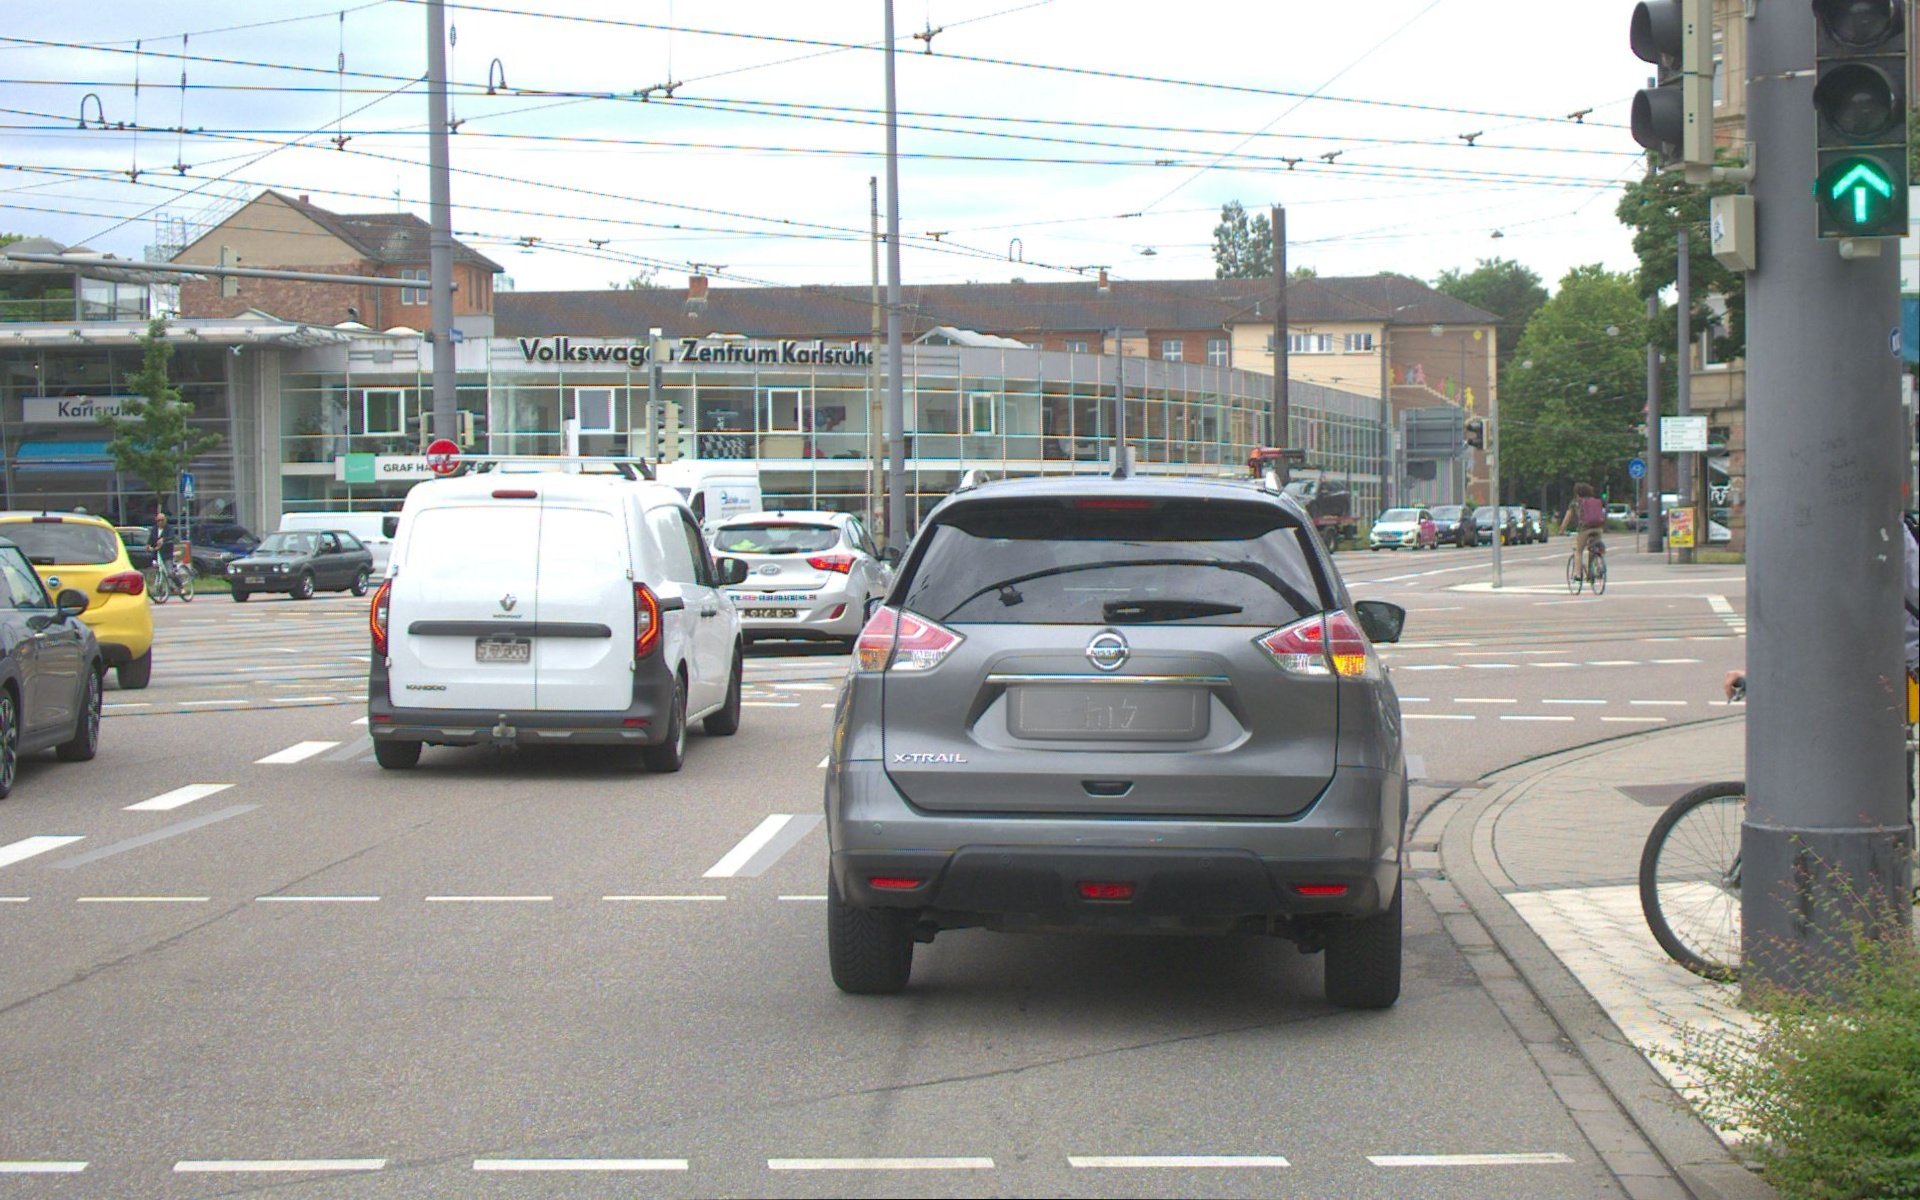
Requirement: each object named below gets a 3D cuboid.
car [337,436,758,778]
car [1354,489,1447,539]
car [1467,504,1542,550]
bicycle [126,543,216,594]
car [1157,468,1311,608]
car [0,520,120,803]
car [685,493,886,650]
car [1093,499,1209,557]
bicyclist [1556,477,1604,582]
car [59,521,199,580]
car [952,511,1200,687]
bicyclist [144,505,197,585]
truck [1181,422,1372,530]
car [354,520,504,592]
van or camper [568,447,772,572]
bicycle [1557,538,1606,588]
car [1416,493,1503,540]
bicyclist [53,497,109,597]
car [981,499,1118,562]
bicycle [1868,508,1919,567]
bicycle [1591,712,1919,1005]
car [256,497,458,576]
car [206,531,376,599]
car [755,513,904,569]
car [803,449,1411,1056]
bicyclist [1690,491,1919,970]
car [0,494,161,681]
[{"bbox_3d":[-2.471,-0.011,21.607,1.912,1.933,4.131,0,1,3],"label":"car"},{"bbox_3d":[16.447,-3.202,128.181,1.996,1.832,4.516,0,2,28],"label":"car"},{"bbox_3d":[22.410,-3.014,141.436,1.996,1.832,4.518,0,2,23],"label":"car"},{"bbox_3d":[-15.022,-0.606,65.509,0.519,0.923,2.221,0,2,20],"label":"bicycle"},{"bbox_3d":[4.193,-0.942,52.065,1.994,2.007,3.999,1,1,9],"label":"car"},{"bbox_3d":[-6.021,0.284,19.634,1.769,1.463,4.001,-1,1,-5],"label":"car"},{"bbox_3d":[-1.736,-0.320,35.353,1.853,1.503,4.000,1,1,0],"label":"car"},{"bbox_3d":[6.175,-2.322,110.640,1.996,1.832,4.516,0,2,28],"label":"car"},{"bbox_3d":[10.077,-1.147,55.878,0.688,1.702,0.798,0,1,4],"label":"bicyclist"},{"bbox_3d":[-20.760,-1.249,86.008,1.637,1.415,3.734,0,2,19],"label":"car"},{"bbox_3d":[1.082,-0.057,29.989,1.994,1.415,4.000,0,1,4],"label":"car"},{"bbox_3d":[-15.032,-1.054,65.486,0.566,1.503,0.856,0,3,20],"label":"bicyclist"},{"bbox_3d":[11.056,-4.225,119.009,2.799,3.537,9.208,1,1,31],"label":"truck"},{"bbox_3d":[-10.903,-0.924,70.796,1.636,1.415,3.735,0,2,16],"label":"car"},{"bbox_3d":[-6.256,-1.953,75.054,2.417,2.602,6.047,1,1,16],"label":"van or camper"},{"bbox_3d":[10.104,-0.607,55.940,0.619,0.791,1.592,0,1,4],"label":"bicycle"},{"bbox_3d":[19.603,-3.274,134.719,1.996,1.832,4.516,0,2,28],"label":"car"},{"bbox_3d":[-15.999,-0.972,62.569,0.628,1.797,0.797,0,1,20],"label":"bicyclist"},{"bbox_3d":[2.756,-2.136,104.246,2.159,1.850,5.440,0,2,25],"label":"car"},{"bbox_3d":[22.275,-1.475,80.928,0.959,1.349,3.116,1,1,29],"label":"bicycle"},{"bbox_3d":[3.086,0.817,11.318,1.820,0.837,0.767,-2,1,-3],"label":"bicycle"},{"bbox_3d":[-15.825,-1.678,90.239,4.769,2.007,2.119,1,1,16],"label":"car"},{"bbox_3d":[-12.700,-0.684,65.485,1.688,1.242,3.735,0,2,16],"label":"car"},{"bbox_3d":[-3.419,-1.582,91.171,1.996,1.415,4.744,0,2,25],"label":"car"},{"bbox_3d":[0.470,0.413,11.958,1.749,1.750,3.924,-1,1,1],"label":"car"},{"bbox_3d":[3.046,0.402,11.307,1.097,1.515,0.760,-1,1,-3],"label":"bicyclist"},{"bbox_3d":[-7.912,-0.148,29.411,1.817,1.489,4.001,0,1,-17],"label":"car"}]
